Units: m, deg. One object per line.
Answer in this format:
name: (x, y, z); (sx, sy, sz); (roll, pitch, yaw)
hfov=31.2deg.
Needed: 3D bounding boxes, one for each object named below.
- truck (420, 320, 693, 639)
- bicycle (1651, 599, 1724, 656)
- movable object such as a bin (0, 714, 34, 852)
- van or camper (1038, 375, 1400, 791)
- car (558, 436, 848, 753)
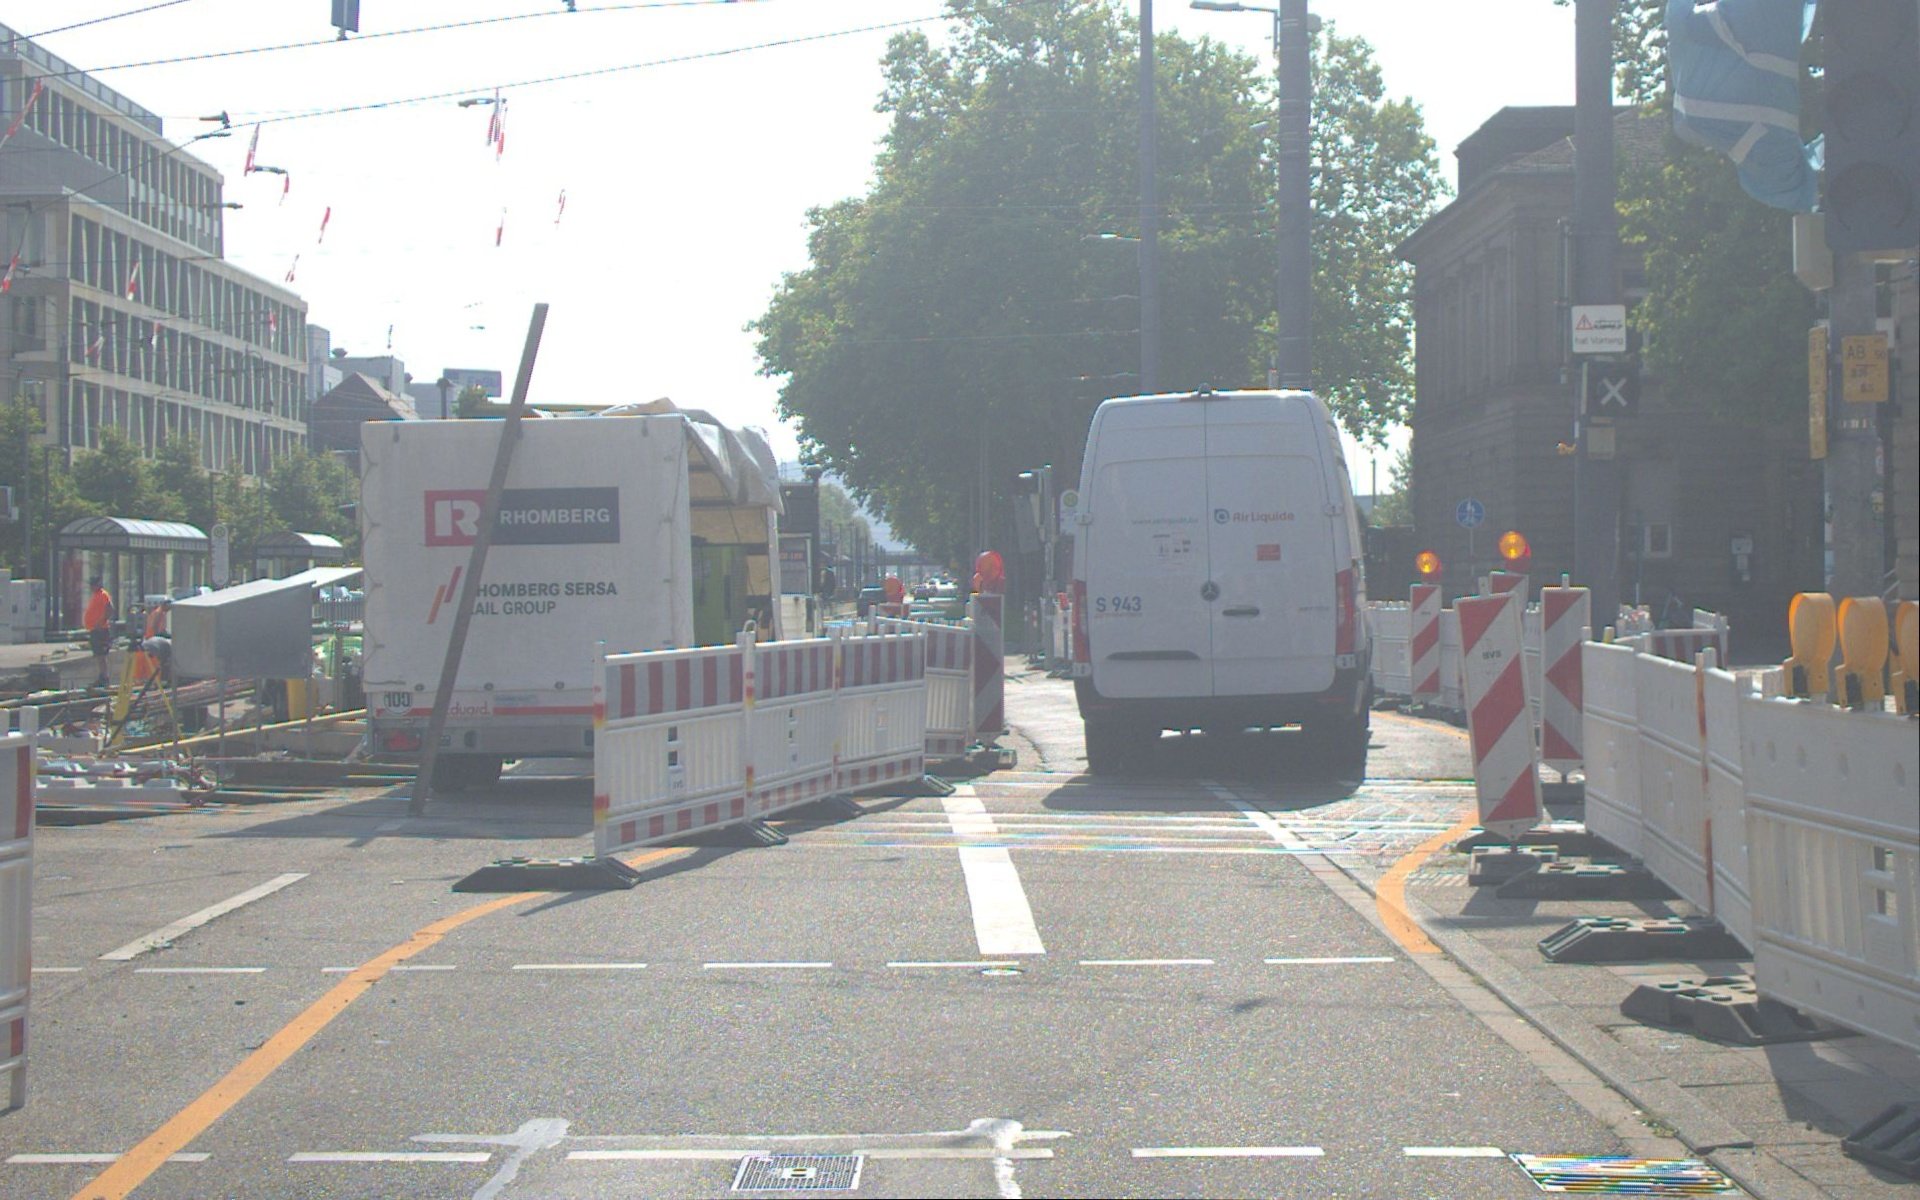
truck: (-5.658, -1.540, 46.917); (2.791, 3.899, 8.421); (1, 1, -12)
bicycle: (13.913, 0.520, 65.803); (0.491, 0.996, 1.819); (-1, 3, -19)
movable object such as a bin: (-5.823, 0.974, 18.379); (1.721, 0.711, 0.716); (-1, 0, 33)
van or camper: (2.044, -0.153, 25.413); (2.116, 2.673, 5.248); (-2, 1, 9)
car: (-2.167, -0.035, 30.096); (2.207, 2.416, 7.200); (-1, 0, -3)
